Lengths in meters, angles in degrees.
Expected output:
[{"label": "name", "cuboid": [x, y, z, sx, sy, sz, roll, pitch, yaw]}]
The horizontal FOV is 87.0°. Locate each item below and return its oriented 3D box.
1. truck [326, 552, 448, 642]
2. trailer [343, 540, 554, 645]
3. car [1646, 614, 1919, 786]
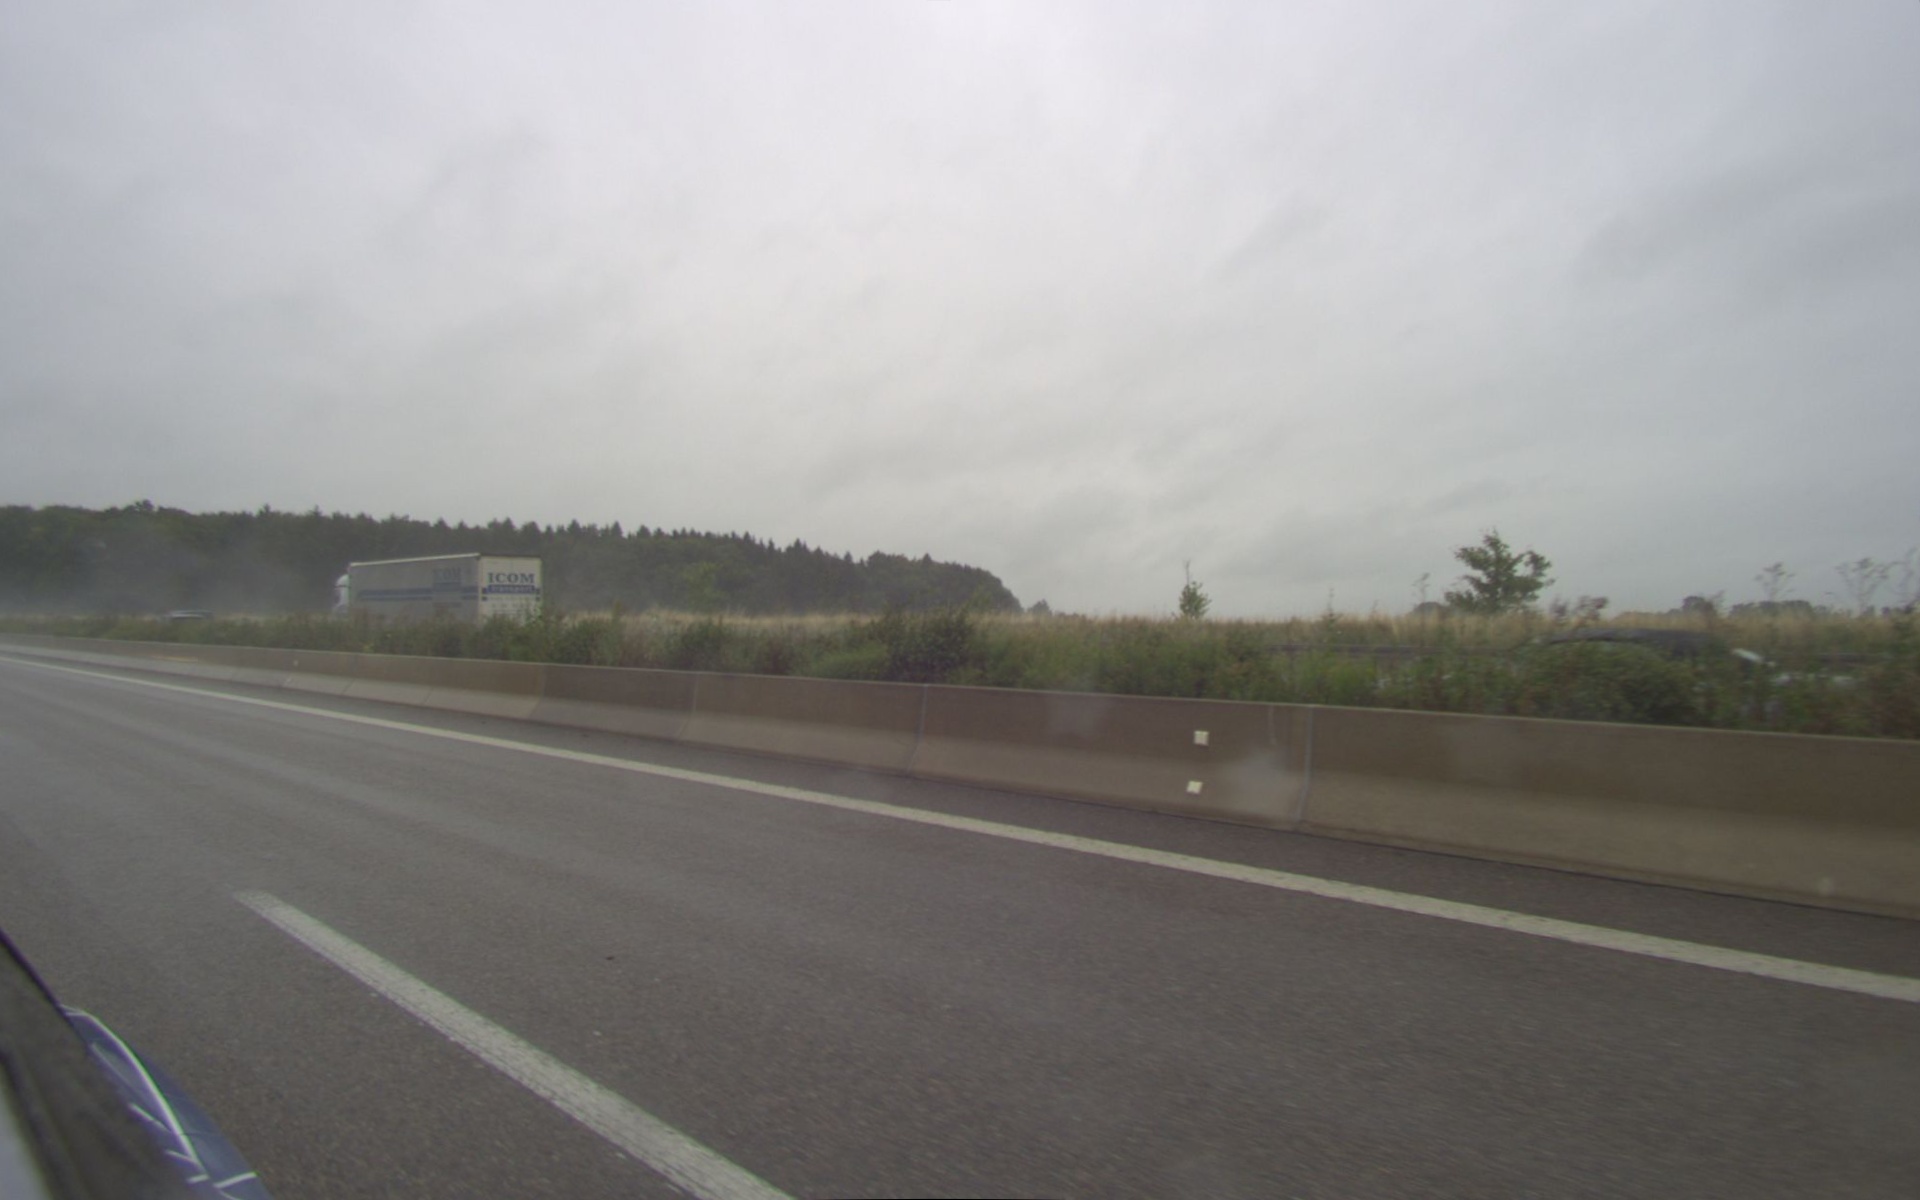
[{"label": "truck", "cuboid": [-27.796, -0.118, 49.054, 5.970, 4.056, 3.292, -1, 0, 40]}, {"label": "trailer", "cuboid": [-23.044, -0.157, 44.933, 13.880, 4.049, 3.350, -1, -1, 41]}, {"label": "car", "cuboid": [7.235, 0.746, 8.112, 2.748, 1.254, 1.195, -1, 0, 41]}]
